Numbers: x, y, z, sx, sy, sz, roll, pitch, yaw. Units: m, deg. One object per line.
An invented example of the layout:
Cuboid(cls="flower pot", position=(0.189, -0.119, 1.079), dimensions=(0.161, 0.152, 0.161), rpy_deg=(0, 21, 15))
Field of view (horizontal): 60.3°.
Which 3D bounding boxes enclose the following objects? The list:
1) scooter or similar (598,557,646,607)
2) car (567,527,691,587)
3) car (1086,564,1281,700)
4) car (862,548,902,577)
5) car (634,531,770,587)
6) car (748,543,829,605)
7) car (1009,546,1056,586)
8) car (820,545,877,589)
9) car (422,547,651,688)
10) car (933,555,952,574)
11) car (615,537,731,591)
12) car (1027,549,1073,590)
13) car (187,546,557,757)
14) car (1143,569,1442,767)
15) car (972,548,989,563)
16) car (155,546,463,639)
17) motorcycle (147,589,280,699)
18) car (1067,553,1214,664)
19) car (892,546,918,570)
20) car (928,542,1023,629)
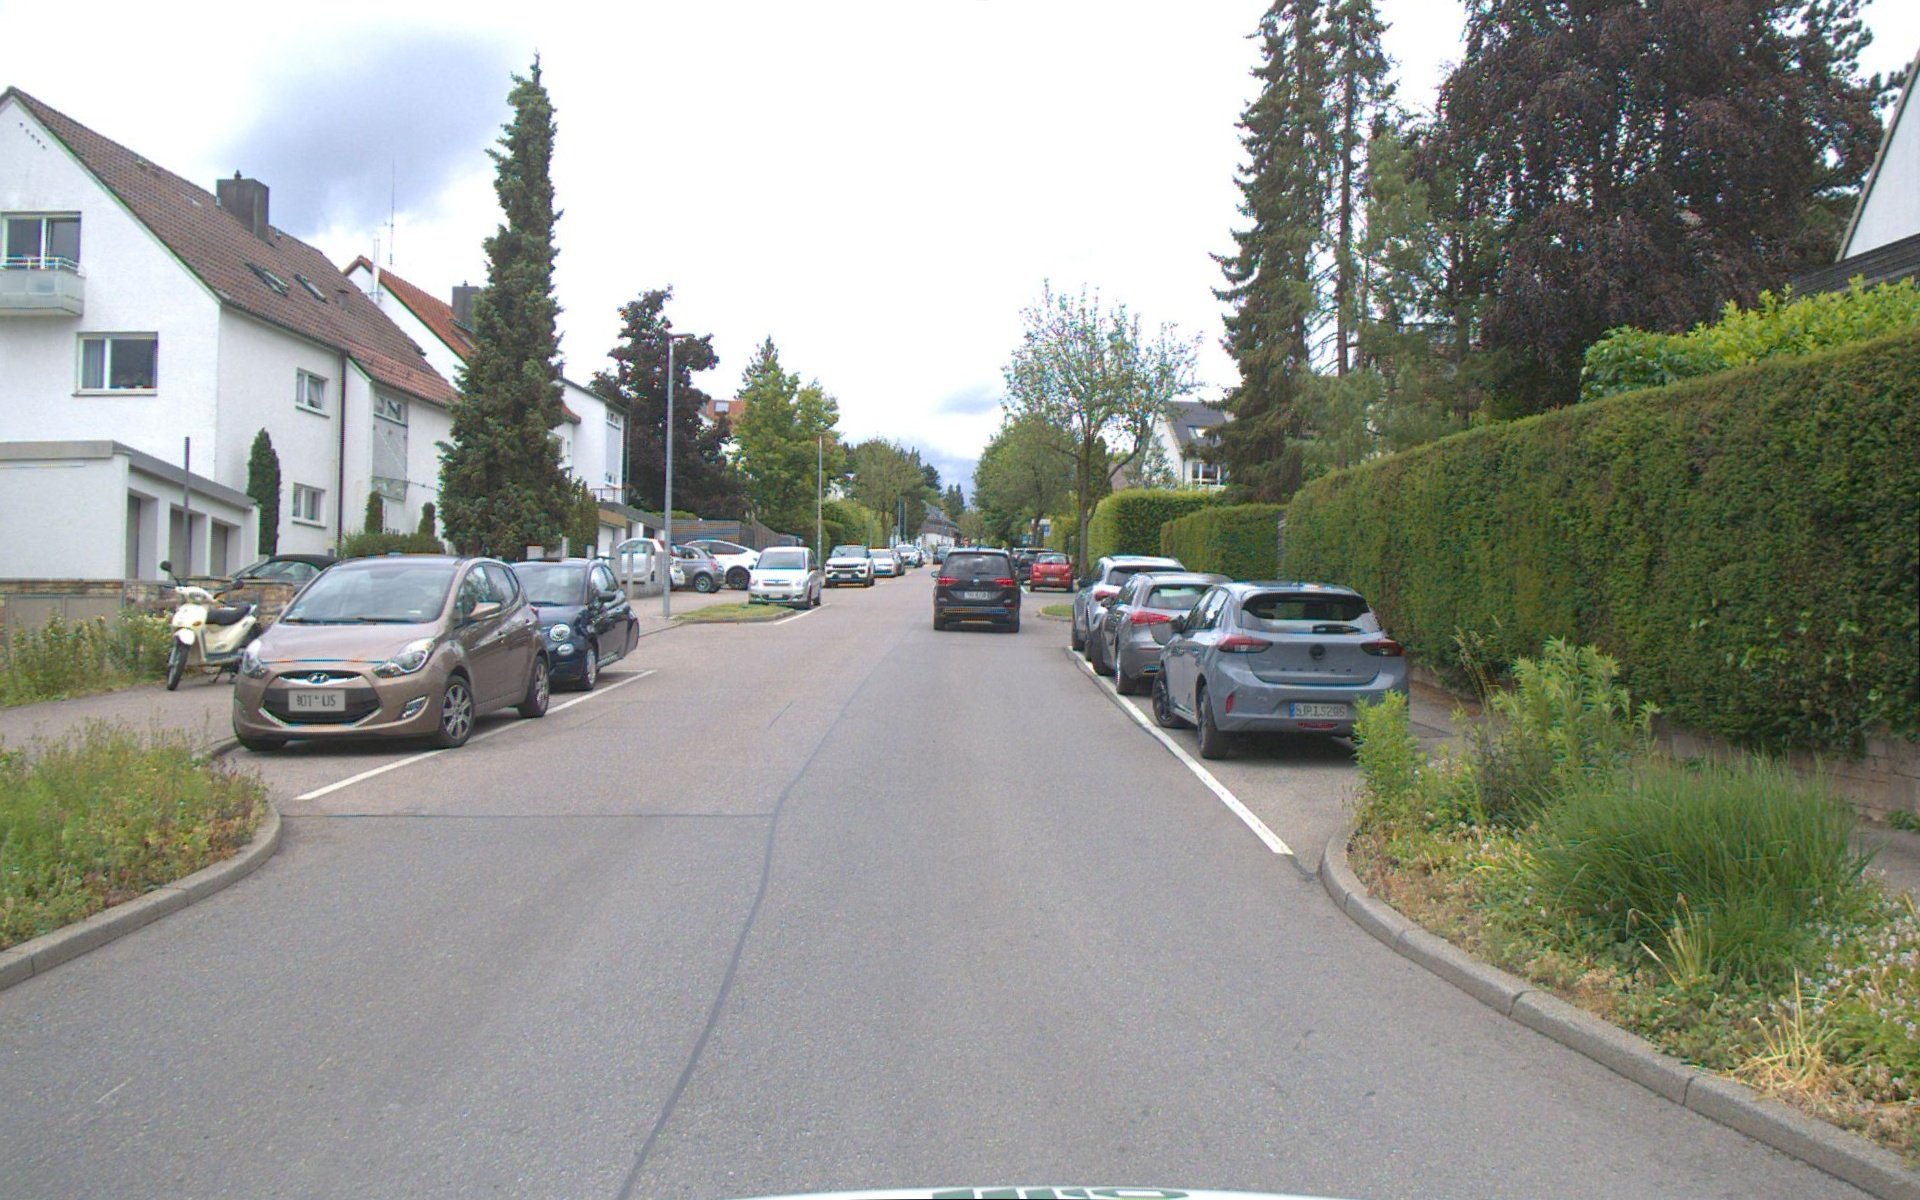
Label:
Cuboid(cls="scooter or similar", position=(-8.159, -0.447, 39.935), dimensions=(0.464, 1.168, 1.455), rpy_deg=(3, 2, 17))
Cuboid(cls="car", position=(-10.106, -1.301, 50.622), dimensions=(3.358, 1.605, 1.657), rpy_deg=(3, 1, 2))
Cuboid(cls="car", position=(2.710, 0.321, 20.988), dimensions=(1.817, 1.489, 4.172), rpy_deg=(2, 1, -1))
Cuboid(cls="car", position=(-4.010, -1.938, 85.103), dimensions=(1.799, 1.447, 4.409), rpy_deg=(-1, 2, 0))
Cuboid(cls="car", position=(-8.916, -1.417, 57.385), dimensions=(4.322, 1.657, 1.911), rpy_deg=(4, 1, 0))
Cuboid(cls="car", position=(-4.581, -0.726, 44.677), dimensions=(1.724, 1.590, 3.856), rpy_deg=(0, 2, 1))
Cuboid(cls="car", position=(3.195, -1.535, 73.795), dimensions=(1.952, 1.646, 4.515), rpy_deg=(3, 1, 1))
Cuboid(cls="car", position=(-4.439, -1.343, 66.398), dimensions=(1.799, 1.695, 4.410), rpy_deg=(-1, 2, 2))
Cuboid(cls="car", position=(-5.064, 0.150, 20.248), dimensions=(1.839, 1.563, 3.508), rpy_deg=(0, 2, 1))
Cuboid(cls="car", position=(-1.708, -3.568, 164.349), dimensions=(1.846, 1.883, 4.402), rpy_deg=(0, 2, 0))
Cuboid(cls="car", position=(-9.289, -1.162, 53.670), dimensions=(3.358, 1.538, 1.693), rpy_deg=(3, 1, 2))
Cuboid(cls="car", position=(3.461, -1.209, 64.147), dimensions=(1.627, 1.534, 3.759), rpy_deg=(1, 2, 1))
Cuboid(cls="car", position=(-5.020, 0.344, 14.724), dimensions=(1.839, 1.612, 3.873), rpy_deg=(0, 2, 1))
Cuboid(cls="car", position=(2.844, 0.498, 15.037), dimensions=(1.817, 1.489, 4.000), rpy_deg=(2, 1, -1))
Cuboid(cls="car", position=(2.352, -5.174, 191.342), dimensions=(1.632, 1.697, 3.466), rpy_deg=(1, 2, -3))
Cuboid(cls="car", position=(-10.330, -0.141, 26.522), dimensions=(4.202, 1.391, 1.903), rpy_deg=(1, 2, -5))
Cuboid(cls="motorcycle", position=(-8.406, 0.467, 18.699), dimensions=(0.420, 1.181, 1.864), rpy_deg=(0, 0, 9))
Cuboid(cls="car", position=(2.824, 0.075, 26.751), dimensions=(1.817, 1.609, 4.172), rpy_deg=(2, 1, -1))
Cuboid(cls="car", position=(-3.647, -2.800, 109.579), dimensions=(1.687, 1.567, 4.000), rpy_deg=(0, 2, -1))
Cuboid(cls="car", position=(0.370, -0.336, 34.206), dimensions=(1.809, 1.639, 4.313), rpy_deg=(1, 1, 2))
